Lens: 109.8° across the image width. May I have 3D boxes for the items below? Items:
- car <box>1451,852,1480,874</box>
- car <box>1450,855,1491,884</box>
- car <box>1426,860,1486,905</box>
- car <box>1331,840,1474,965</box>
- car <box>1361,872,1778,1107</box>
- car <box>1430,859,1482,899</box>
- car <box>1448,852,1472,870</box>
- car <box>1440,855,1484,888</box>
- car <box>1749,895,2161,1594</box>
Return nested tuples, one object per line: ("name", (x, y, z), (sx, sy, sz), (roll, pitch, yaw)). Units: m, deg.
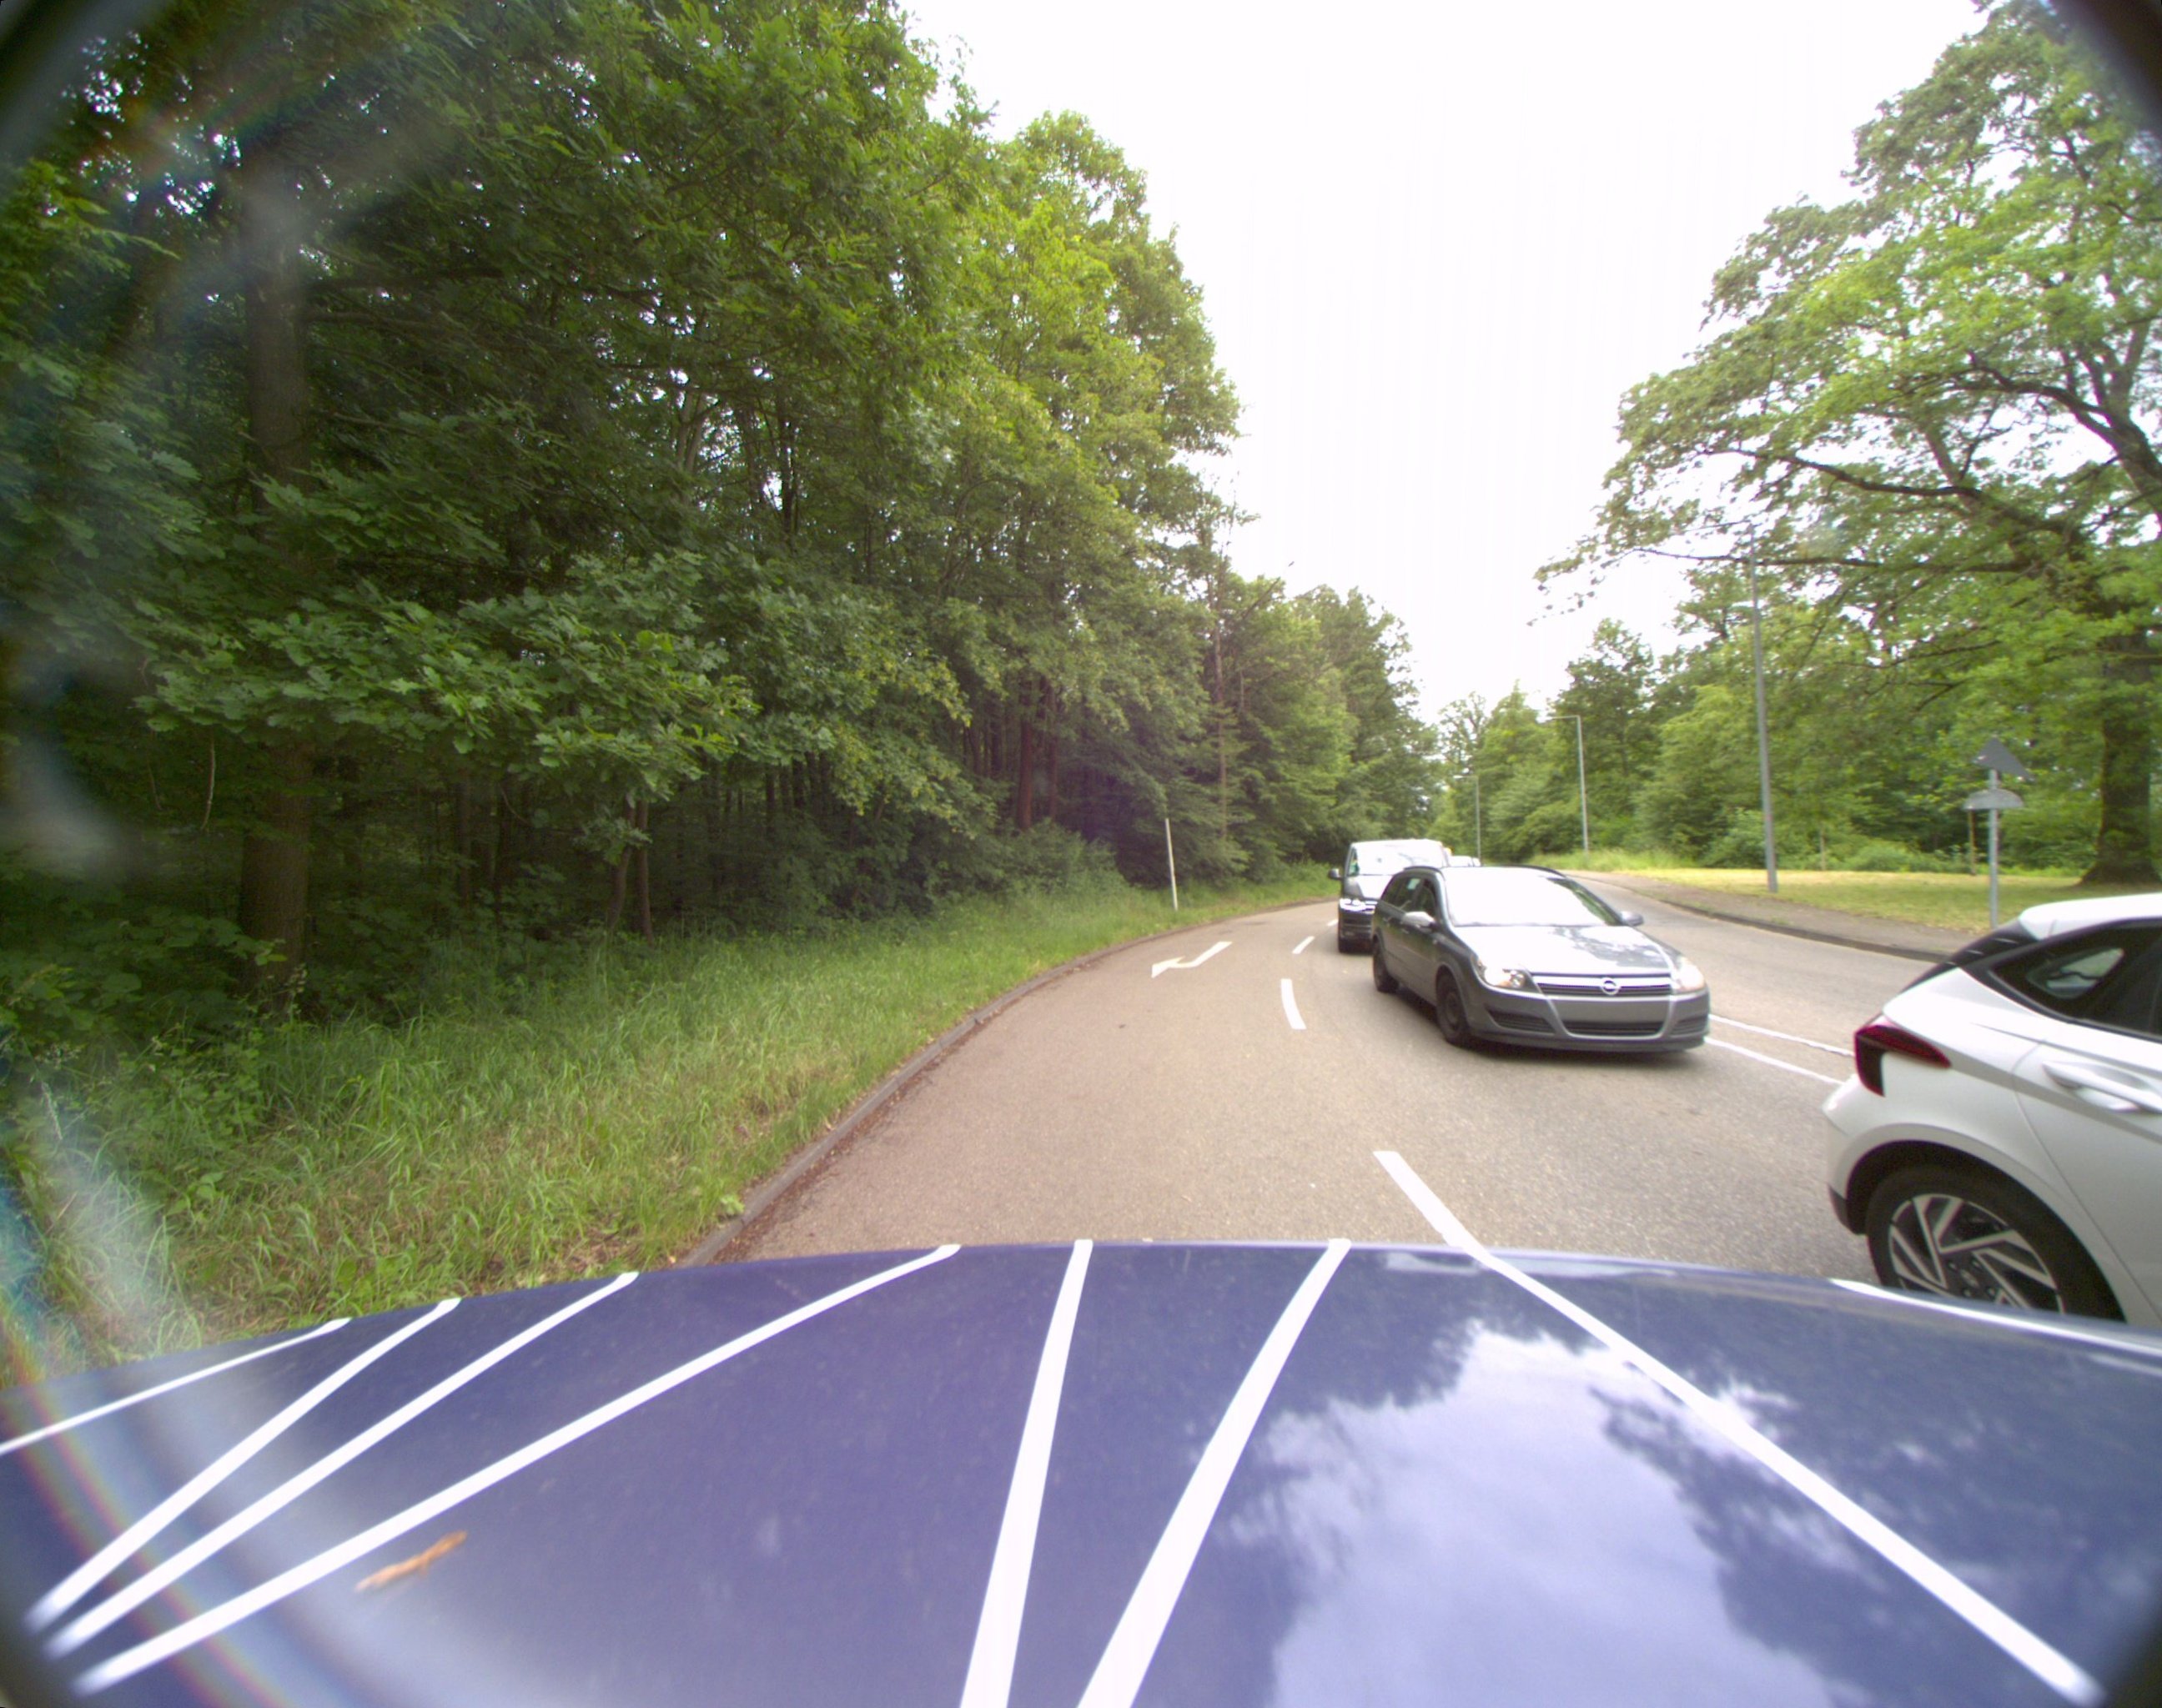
("car", (27.337, 0.640, 53.963), (1.775, 1.490, 3.880), (-2, -1, 28))
("car", (20.959, 0.809, 41.016), (1.775, 1.490, 3.880), (-2, -1, 25))
("car", (13.347, 0.979, 27.168), (1.775, 1.490, 3.880), (-2, -1, 25))
("car", (5.799, 0.764, 13.803), (1.987, 1.861, 4.539), (-1, -1, 23))
("car", (4.040, 0.955, 7.298), (1.801, 1.470, 4.474), (-1, -1, 11))
("car", (15.208, 0.986, 30.944), (1.775, 1.490, 3.880), (-2, -1, 25))
("car", (34.174, 0.621, 68.465), (1.775, 1.490, 3.880), (-2, -1, 28))
("car", (18.344, 0.798, 36.703), (1.775, 1.490, 3.880), (-2, -1, 25))
("car", (3.145, 0.865, 0.659), (1.653, 1.470, 4.074), (-1, -1, 3))
